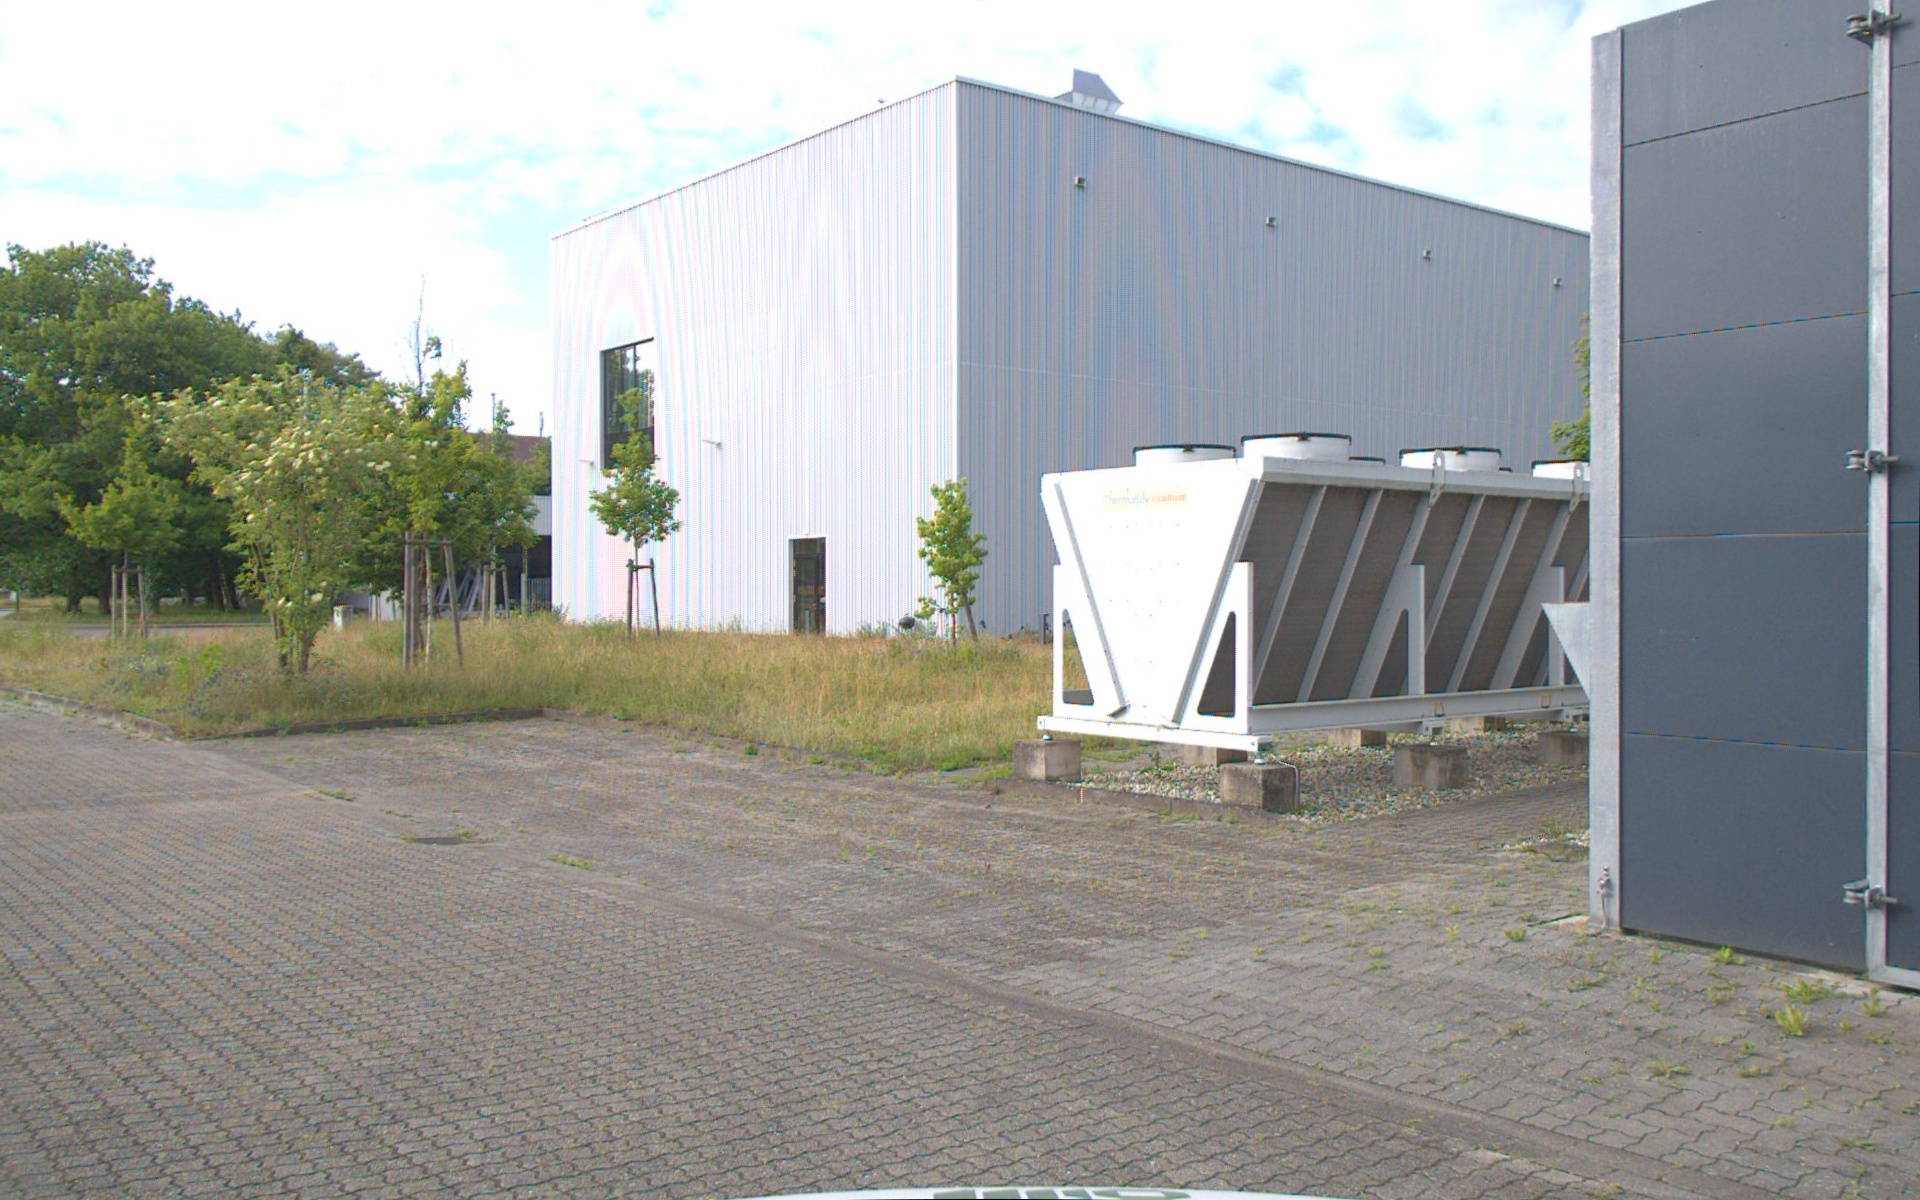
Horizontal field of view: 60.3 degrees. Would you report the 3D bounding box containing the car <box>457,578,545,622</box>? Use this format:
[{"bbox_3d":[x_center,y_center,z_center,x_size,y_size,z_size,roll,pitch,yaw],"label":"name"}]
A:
[{"bbox_3d":[-22.325,0.015,80.373,2.227,2.049,5.261,-1,0,-39],"label":"car"}]
